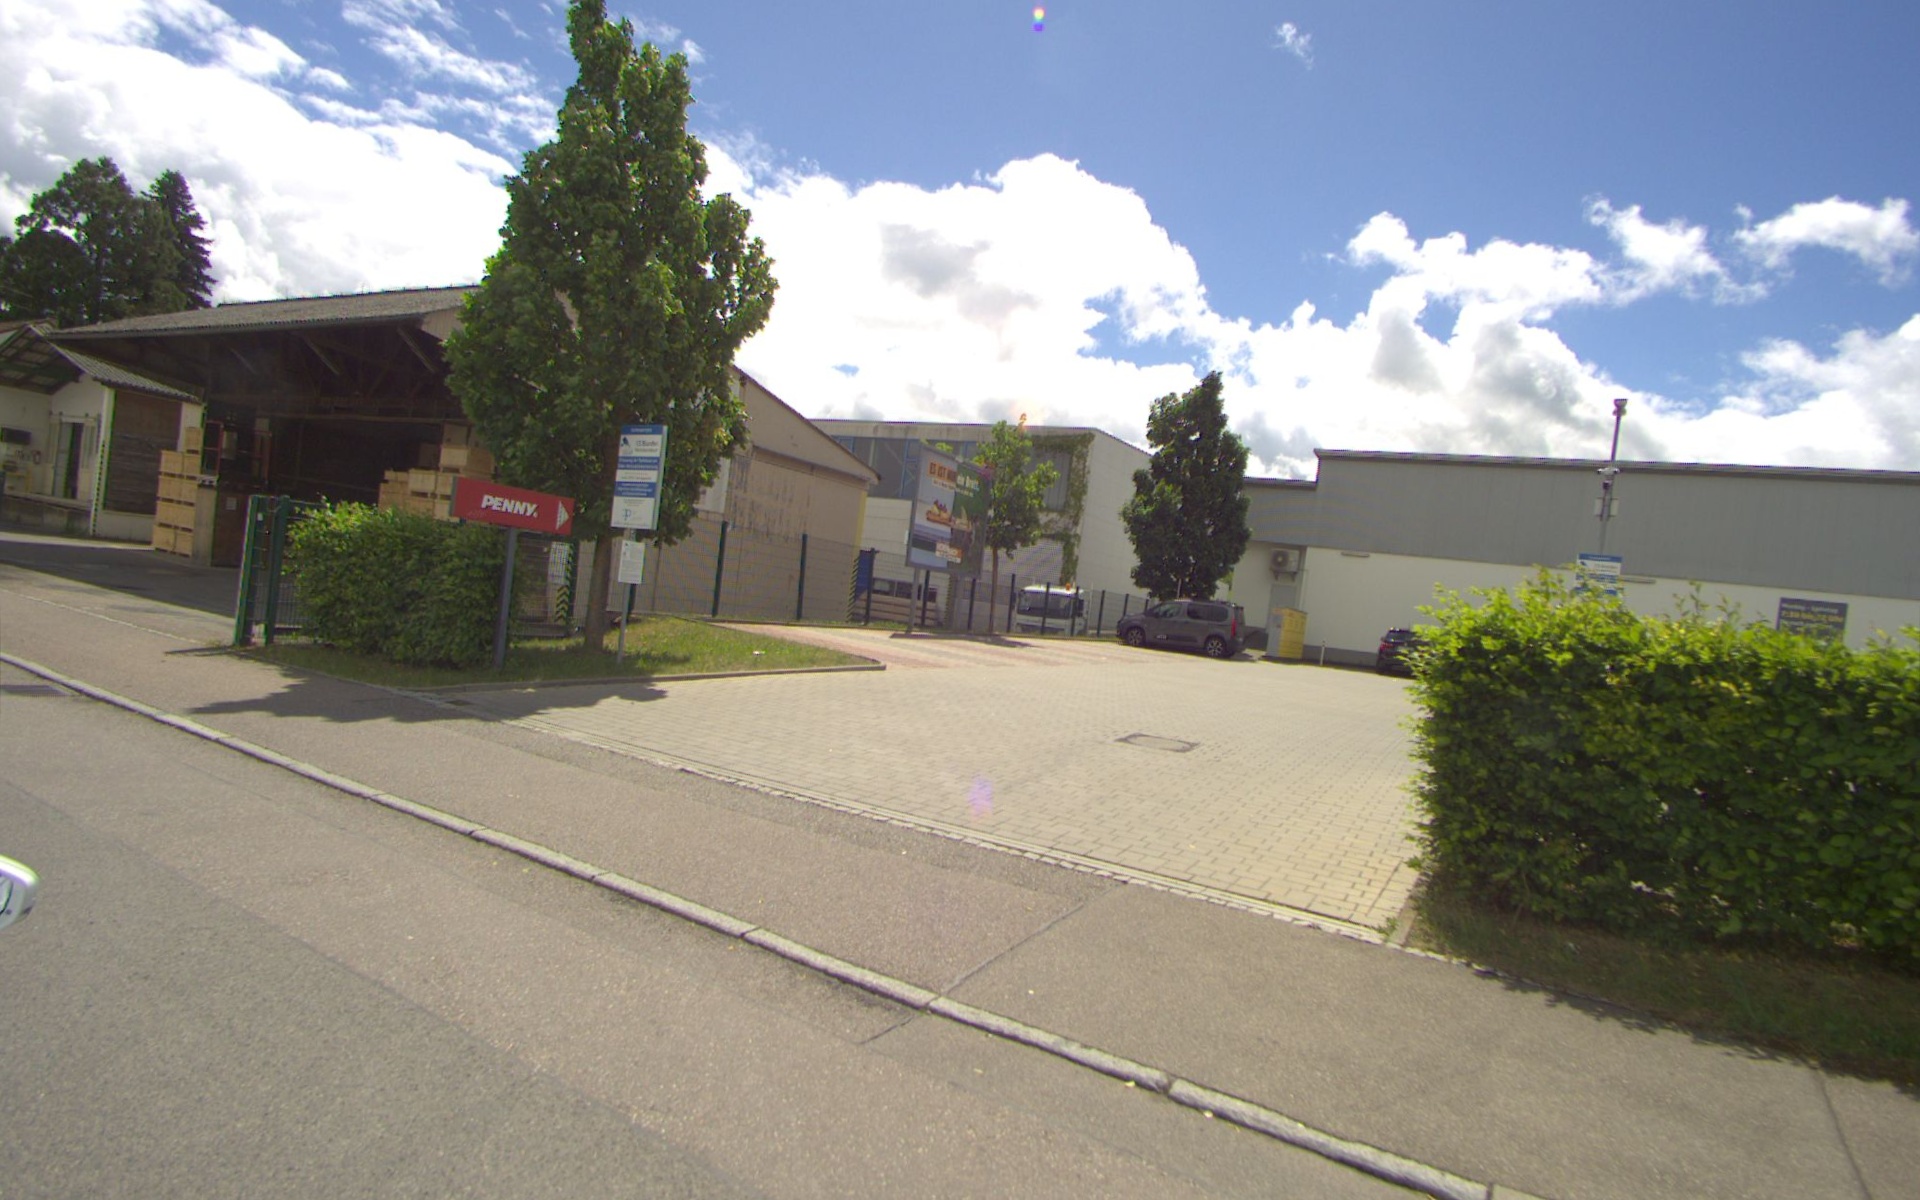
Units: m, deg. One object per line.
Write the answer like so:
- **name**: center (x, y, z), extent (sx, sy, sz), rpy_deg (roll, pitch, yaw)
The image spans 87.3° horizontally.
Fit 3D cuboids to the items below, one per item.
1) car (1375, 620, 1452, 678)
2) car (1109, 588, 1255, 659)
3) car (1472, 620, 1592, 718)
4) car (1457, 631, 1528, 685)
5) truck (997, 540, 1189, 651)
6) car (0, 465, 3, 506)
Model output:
- **car**: center (15.630, 1.706, 34.575), extent (1.789, 1.643, 3.992), rpy_deg (8, 0, 31)
- **car**: center (7.580, 0.799, 34.401), extent (4.317, 1.854, 1.996), rpy_deg (8, 2, 29)
- **car**: center (13.085, 1.626, 22.901), extent (1.968, 1.702, 3.995), rpy_deg (7, -3, 33)
- **car**: center (18.063, 1.992, 34.051), extent (1.789, 1.526, 3.992), rpy_deg (8, 0, 31)
- **truck**: center (5.900, 0.049, 41.595), extent (2.930, 2.896, 12.008), rpy_deg (8, -3, 32)
- **car**: center (-48.021, -5.705, 46.595), extent (1.968, 1.954, 5.017), rpy_deg (7, 1, 34)
